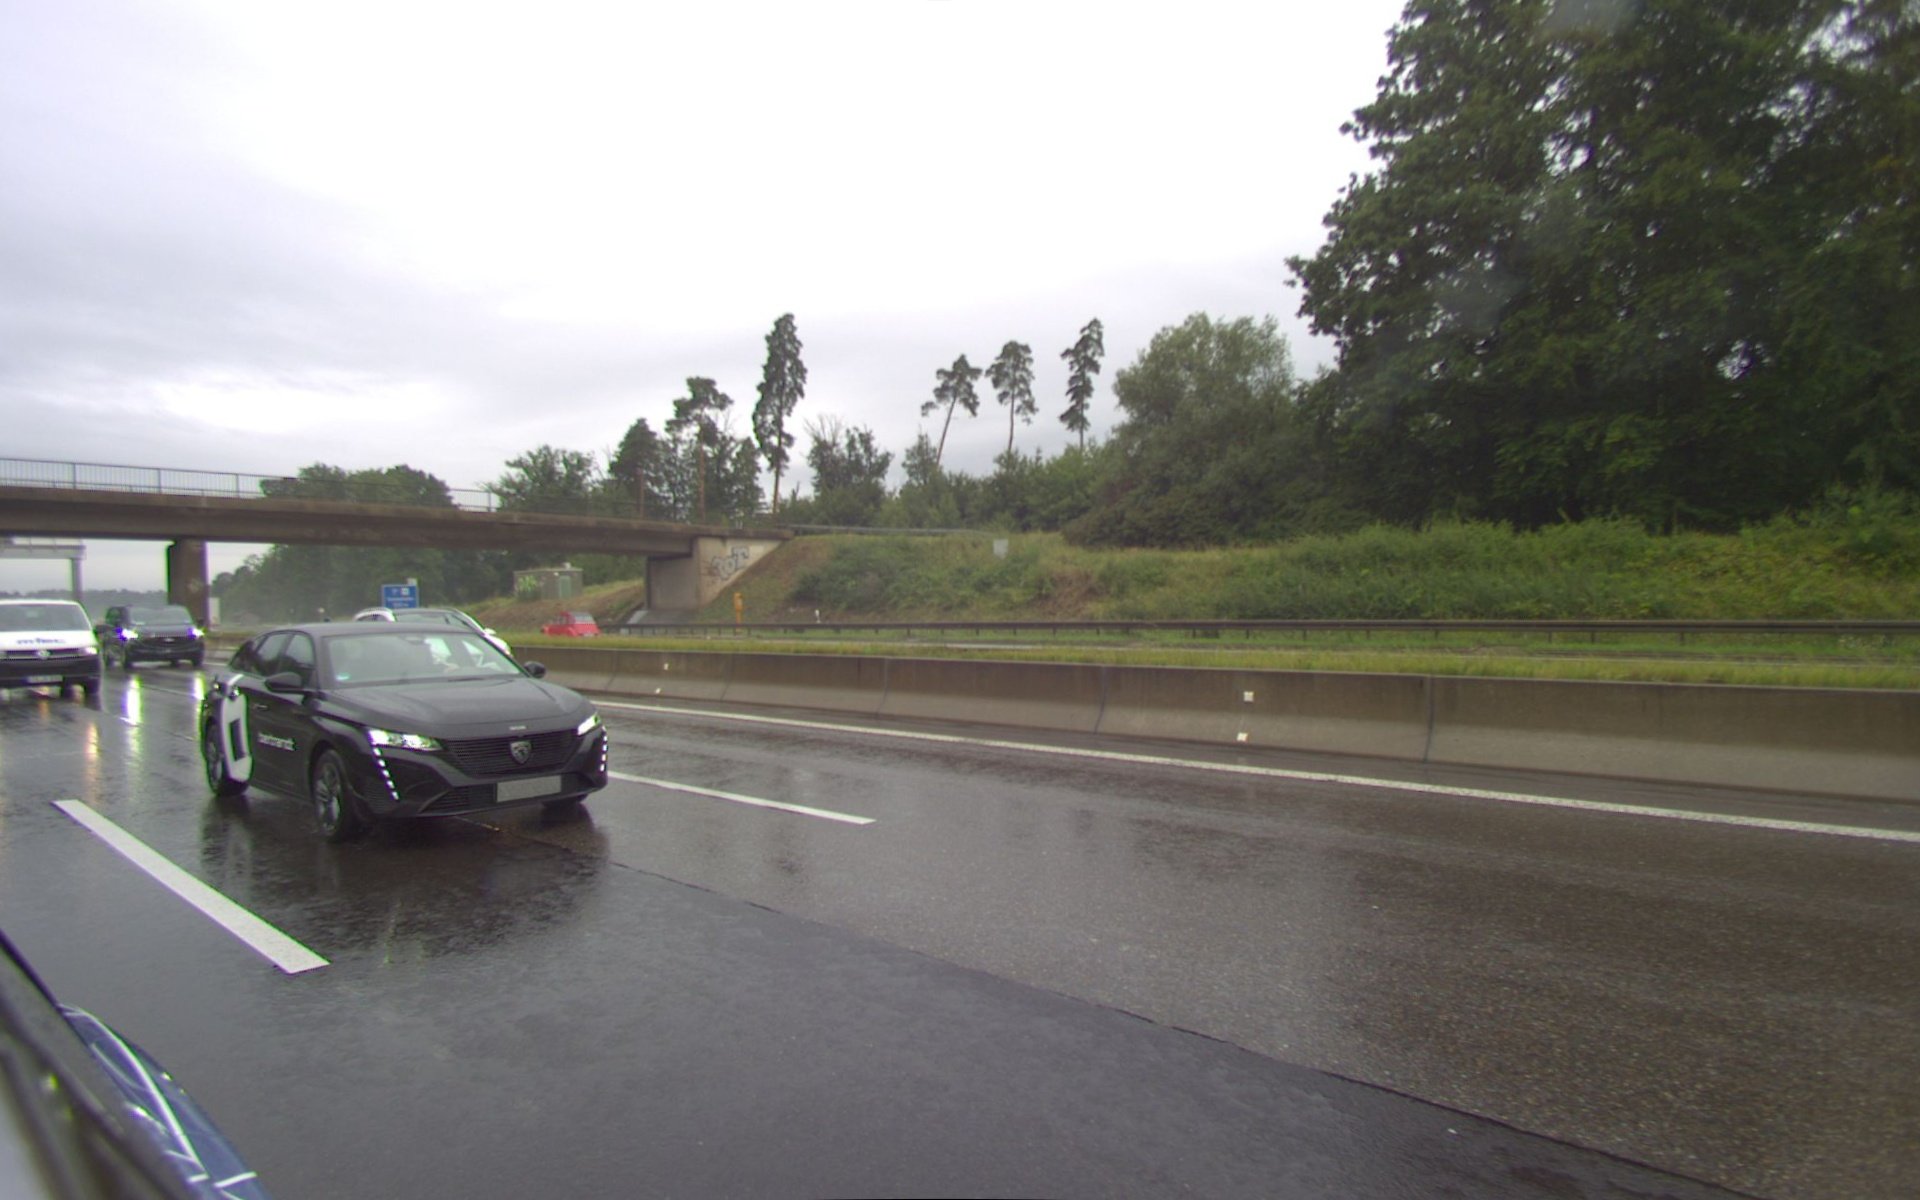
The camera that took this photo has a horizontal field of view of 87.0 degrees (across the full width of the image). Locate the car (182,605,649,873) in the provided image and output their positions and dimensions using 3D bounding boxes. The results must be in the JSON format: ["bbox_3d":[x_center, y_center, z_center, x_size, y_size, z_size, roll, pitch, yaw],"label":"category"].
[{"bbox_3d":[-4.491,0.849,8.004,4.465,1.516,1.826,-2,-1,42],"label":"car"}]

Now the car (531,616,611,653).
[{"bbox_3d":[-17.912,1.562,46.581,3.943,1.603,1.826,-2,-1,42],"label":"car"}]

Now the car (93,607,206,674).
[{"bbox_3d":[-25.795,1.228,32.137,5.241,1.958,1.970,-1,0,42],"label":"car"}]

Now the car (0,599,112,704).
[{"bbox_3d":[-18.864,0.987,20.464,4.765,1.894,1.969,-2,-1,42],"label":"car"}]

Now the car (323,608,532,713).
[{"bbox_3d":[-9.487,0.995,17.872,4.465,1.603,1.826,-2,-1,42],"label":"car"}]

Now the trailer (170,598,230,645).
[{"bbox_3d":[-83.411,2.347,110.930,13.350,4.850,3.170,-2,-1,44],"label":"trailer"}]
